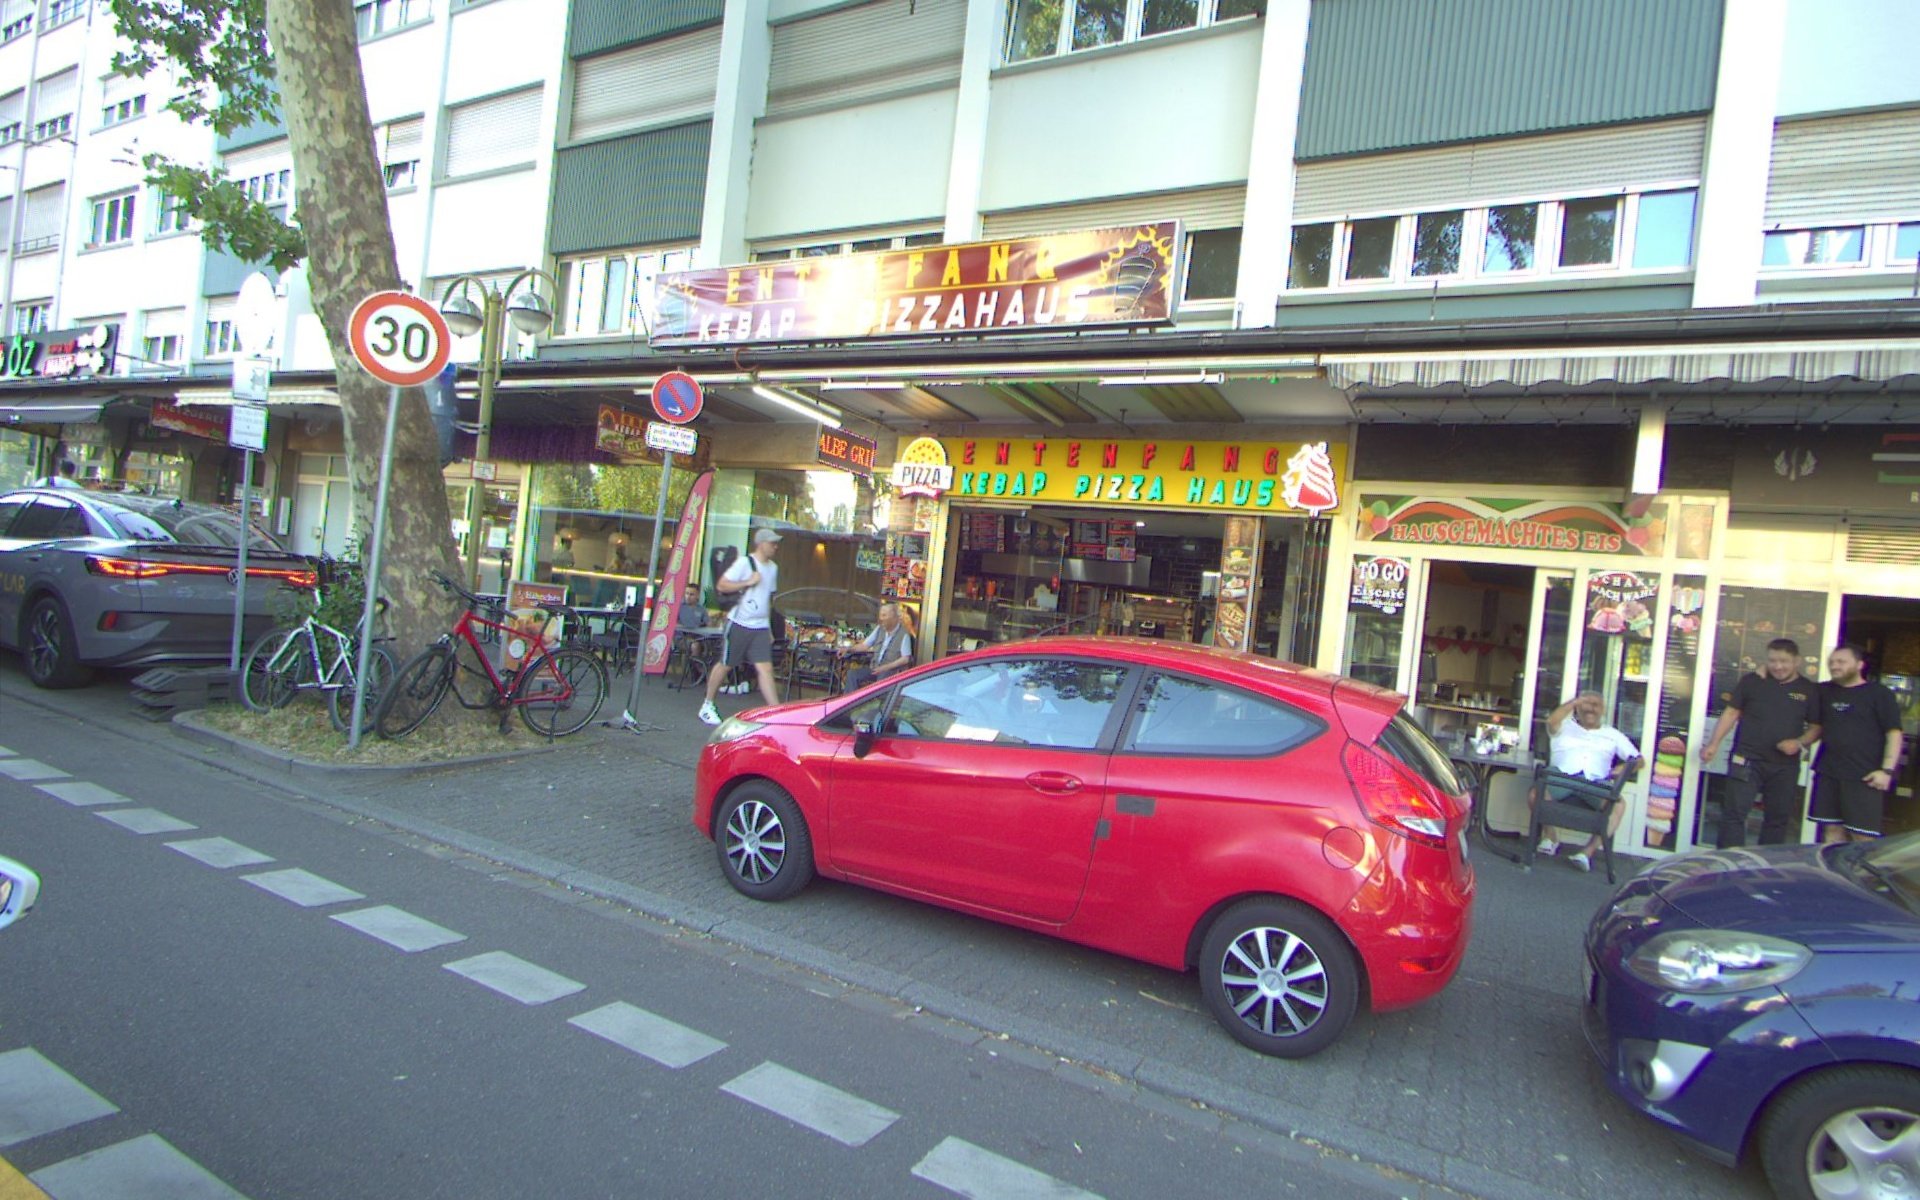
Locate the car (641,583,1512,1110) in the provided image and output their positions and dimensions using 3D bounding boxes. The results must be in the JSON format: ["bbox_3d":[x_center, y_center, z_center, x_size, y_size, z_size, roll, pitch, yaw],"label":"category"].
[{"bbox_3d":[0.477,0.847,4.998,3.780,1.448,1.668,7,2,27],"label":"car"}]

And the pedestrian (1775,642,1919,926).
[{"bbox_3d":[6.217,1.219,6.953,0.636,1.783,0.610,8,3,32],"label":"pedestrian"}]

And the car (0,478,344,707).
[{"bbox_3d":[-7.815,-0.198,9.184,4.223,1.619,1.742,7,2,27],"label":"car"}]

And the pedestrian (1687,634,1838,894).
[{"bbox_3d":[5.867,1.160,7.394,0.587,1.759,0.588,8,3,30],"label":"pedestrian"}]

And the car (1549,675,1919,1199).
[{"bbox_3d":[3.871,1.224,2.908,3.543,1.485,1.620,7,2,29],"label":"car"}]

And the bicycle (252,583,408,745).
[{"bbox_3d":[-4.445,0.427,7.083,1.110,0.941,0.295,9,6,21],"label":"bicycle"}]

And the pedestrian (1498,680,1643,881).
[{"bbox_3d":[4.636,1.298,7.626,0.767,1.249,1.202,6,3,33],"label":"pedestrian"}]

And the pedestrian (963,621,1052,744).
[{"bbox_3d":[0.492,0.828,10.386,0.585,1.172,0.671,6,3,31],"label":"pedestrian"}]

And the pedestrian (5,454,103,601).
[{"bbox_3d":[-13.301,-1.051,14.781,0.701,2.040,0.770,6,2,26],"label":"pedestrian"}]

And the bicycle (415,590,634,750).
[{"bbox_3d":[-3.233,0.507,7.562,0.291,1.082,1.455,12,7,42],"label":"bicycle"}]

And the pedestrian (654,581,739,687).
[{"bbox_3d":[-3.236,0.410,12.365,0.694,1.220,0.675,7,3,42],"label":"pedestrian"}]

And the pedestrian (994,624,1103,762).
[{"bbox_3d":[0.832,0.841,9.415,0.740,1.172,0.593,6,3,33],"label":"pedestrian"}]

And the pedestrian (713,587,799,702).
[{"bbox_3d":[-2.390,0.512,11.802,0.701,1.260,0.614,7,3,41],"label":"pedestrian"}]

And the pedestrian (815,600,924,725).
[{"bbox_3d":[-0.979,0.665,10.870,0.861,1.237,0.688,2,3,-44],"label":"pedestrian"}]

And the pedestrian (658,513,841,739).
[{"bbox_3d":[-1.959,0.236,9.413,1.104,1.913,1.023,6,0,31],"label":"pedestrian"}]
